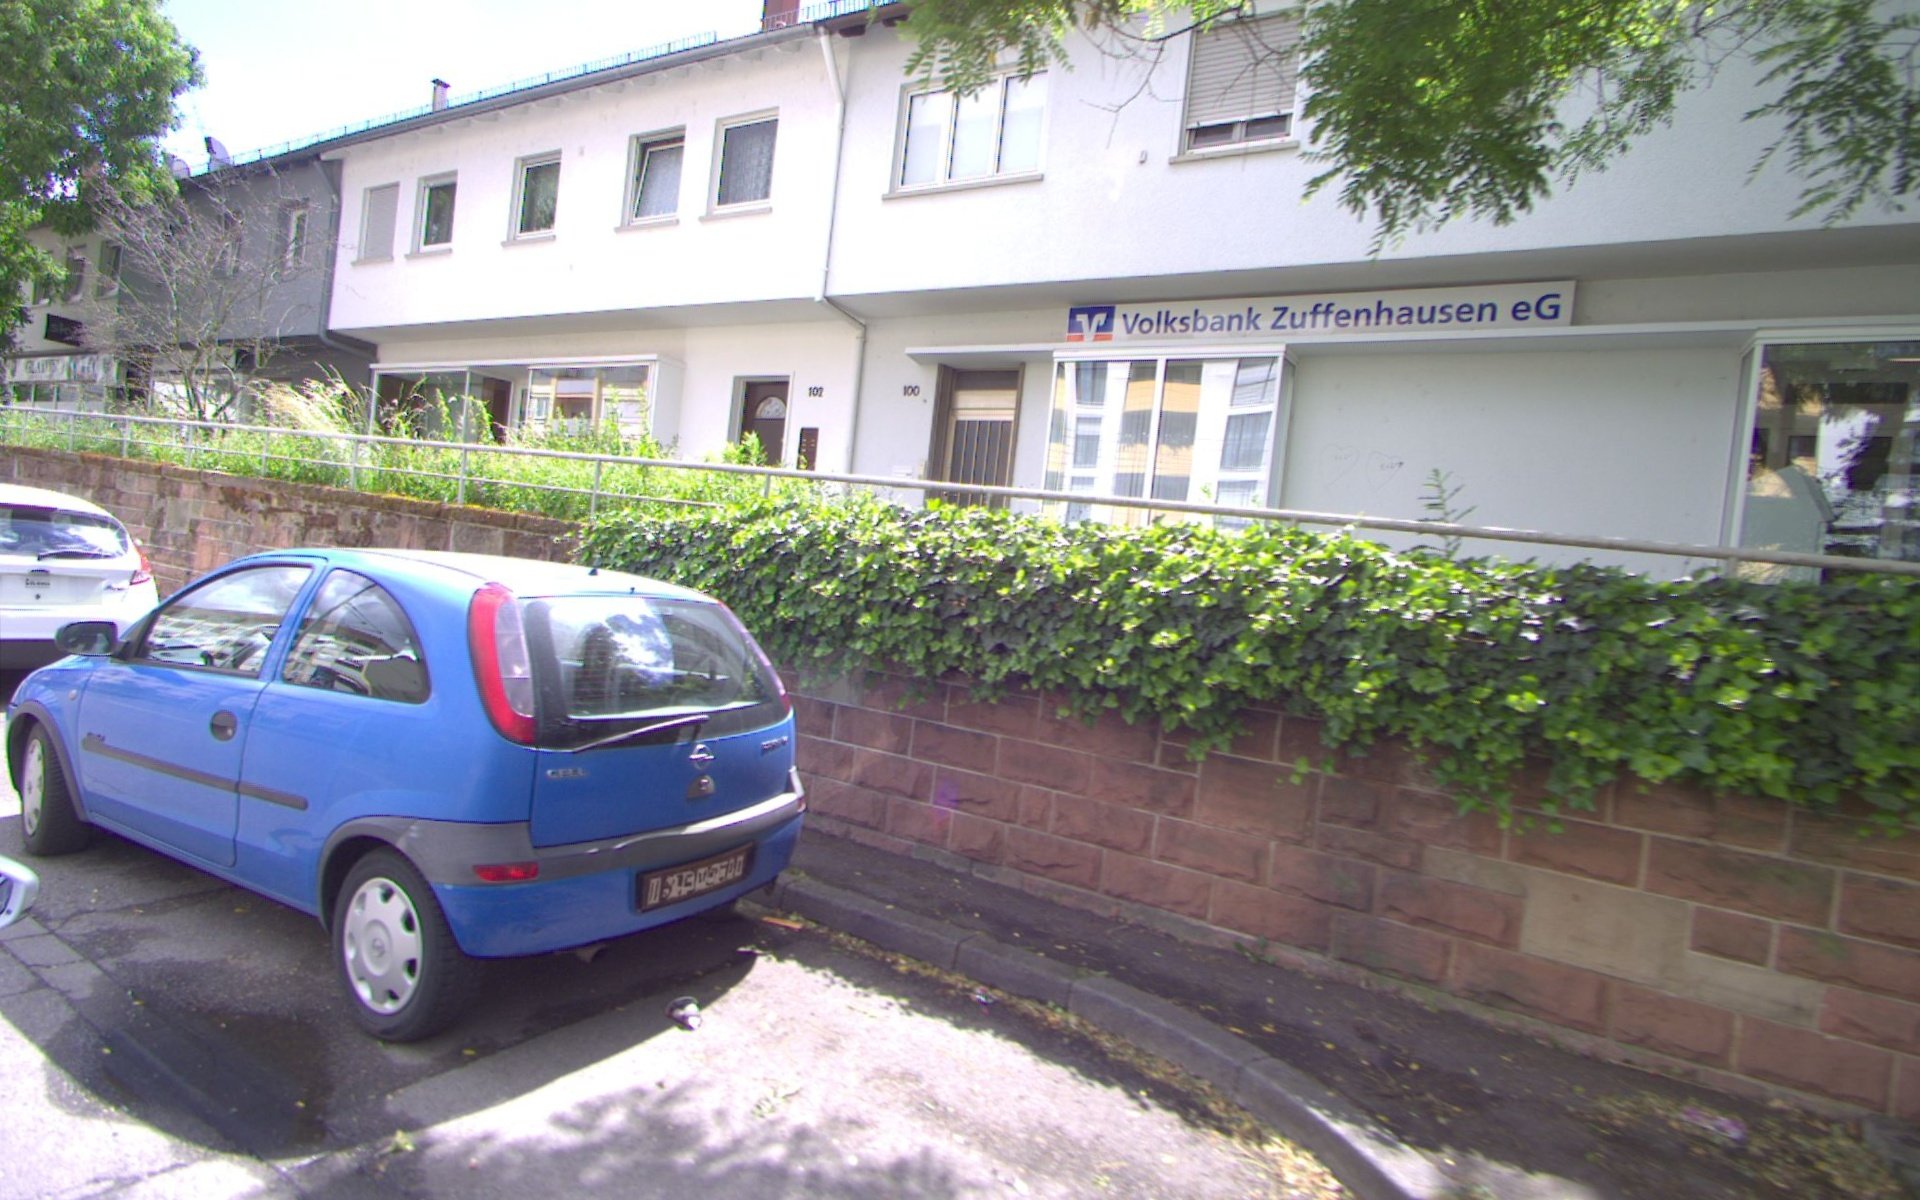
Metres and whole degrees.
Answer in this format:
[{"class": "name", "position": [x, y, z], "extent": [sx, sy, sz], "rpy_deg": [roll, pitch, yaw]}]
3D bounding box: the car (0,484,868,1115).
[{"class": "car", "position": [-2.391, 0.455, 4.217], "extent": [3.613, 1.476, 1.609], "rpy_deg": [7, 2, 30]}]

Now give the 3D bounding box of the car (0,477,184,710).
[{"class": "car", "position": [-7.737, -0.234, 7.612], "extent": [3.758, 1.508, 1.647], "rpy_deg": [8, 0, 32]}]
